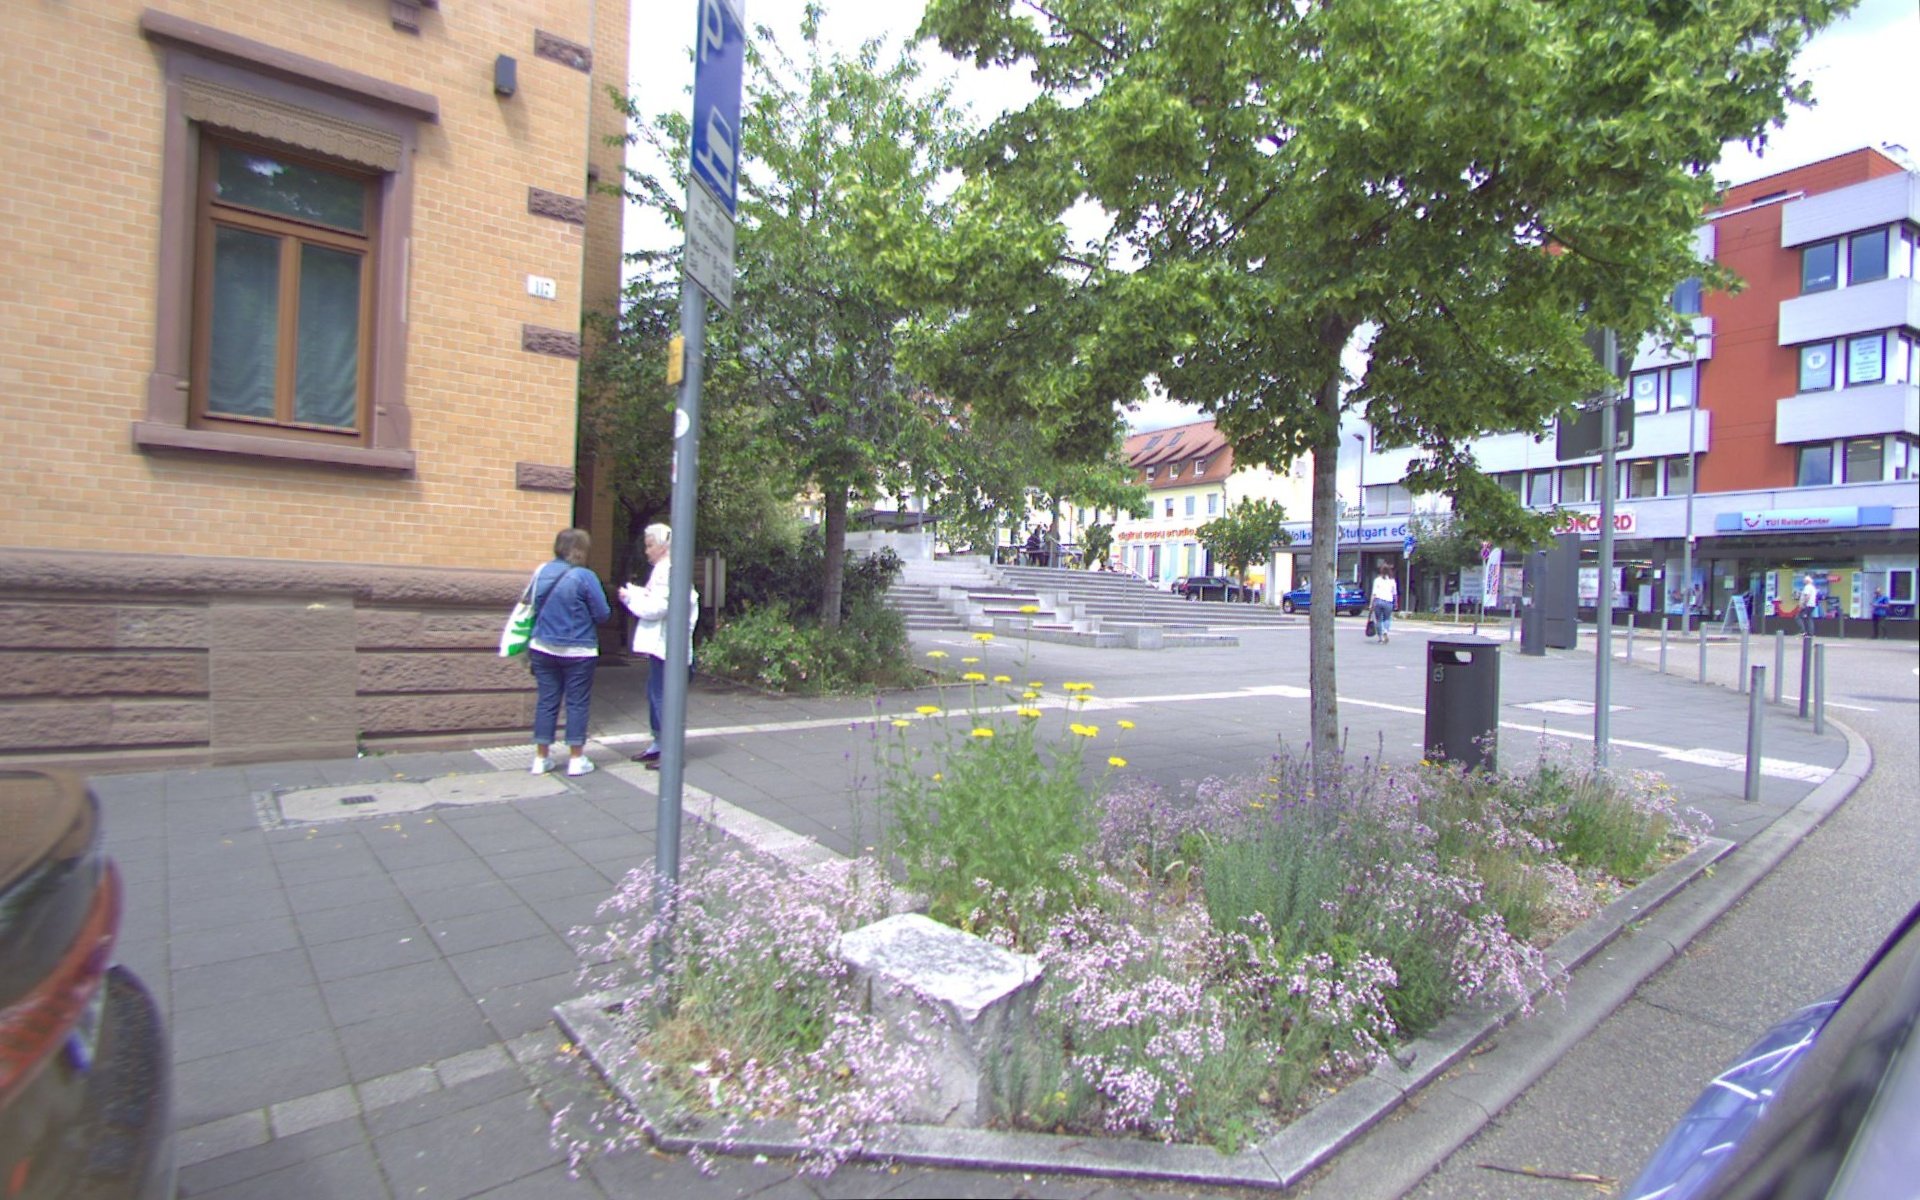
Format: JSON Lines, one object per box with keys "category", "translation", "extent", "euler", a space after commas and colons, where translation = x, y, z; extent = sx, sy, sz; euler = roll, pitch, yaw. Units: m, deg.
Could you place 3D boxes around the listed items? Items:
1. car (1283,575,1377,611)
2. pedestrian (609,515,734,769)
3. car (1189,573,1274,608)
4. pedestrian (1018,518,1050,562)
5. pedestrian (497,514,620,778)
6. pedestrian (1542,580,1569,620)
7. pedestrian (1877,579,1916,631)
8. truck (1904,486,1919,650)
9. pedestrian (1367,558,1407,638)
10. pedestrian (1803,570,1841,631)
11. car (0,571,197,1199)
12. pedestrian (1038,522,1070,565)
{"category": "car", "translation": [16.921, -0.331, 46.468], "extent": [1.782, 1.582, 3.836], "euler": [0, 0, -28]}
{"category": "pedestrian", "translation": [-2.049, 0.271, 7.162], "extent": [0.725, 1.679, 0.699], "euler": [0, 0, -27]}
{"category": "car", "translation": [16.769, -0.586, 62.430], "extent": [4.933, 2.039, 2.414], "euler": [1, 1, -33]}
{"category": "pedestrian", "translation": [2.343, -1.901, 32.227], "extent": [0.749, 1.342, 0.695], "euler": [0, 0, -33]}
{"category": "pedestrian", "translation": [-2.668, 0.285, 6.793], "extent": [0.661, 1.660, 0.742], "euler": [0, 0, -13]}
{"category": "pedestrian", "translation": [24.122, 0.004, 40.997], "extent": [0.751, 1.603, 0.686], "euler": [0, 0, -29]}
{"category": "pedestrian", "translation": [29.359, 0.151, 31.722], "extent": [0.751, 1.614, 0.686], "euler": [0, 0, -29]}
{"category": "truck", "translation": [28.123, -0.779, 23.282], "extent": [10.635, 3.891, 2.684], "euler": [0, 0, -3]}
{"category": "pedestrian", "translation": [9.454, -0.046, 22.427], "extent": [0.757, 1.753, 0.748], "euler": [0, 0, 19]}
{"category": "pedestrian", "translation": [27.544, 0.010, 32.346], "extent": [0.751, 1.937, 0.686], "euler": [0, 0, -29]}
{"category": "car", "translation": [-3.194, 0.666, 0.339], "extent": [4.650, 1.431, 1.999], "euler": [0, 1, -39]}
{"category": "pedestrian", "translation": [3.035, -1.819, 32.749], "extent": [0.749, 1.342, 0.695], "euler": [0, 0, -33]}
